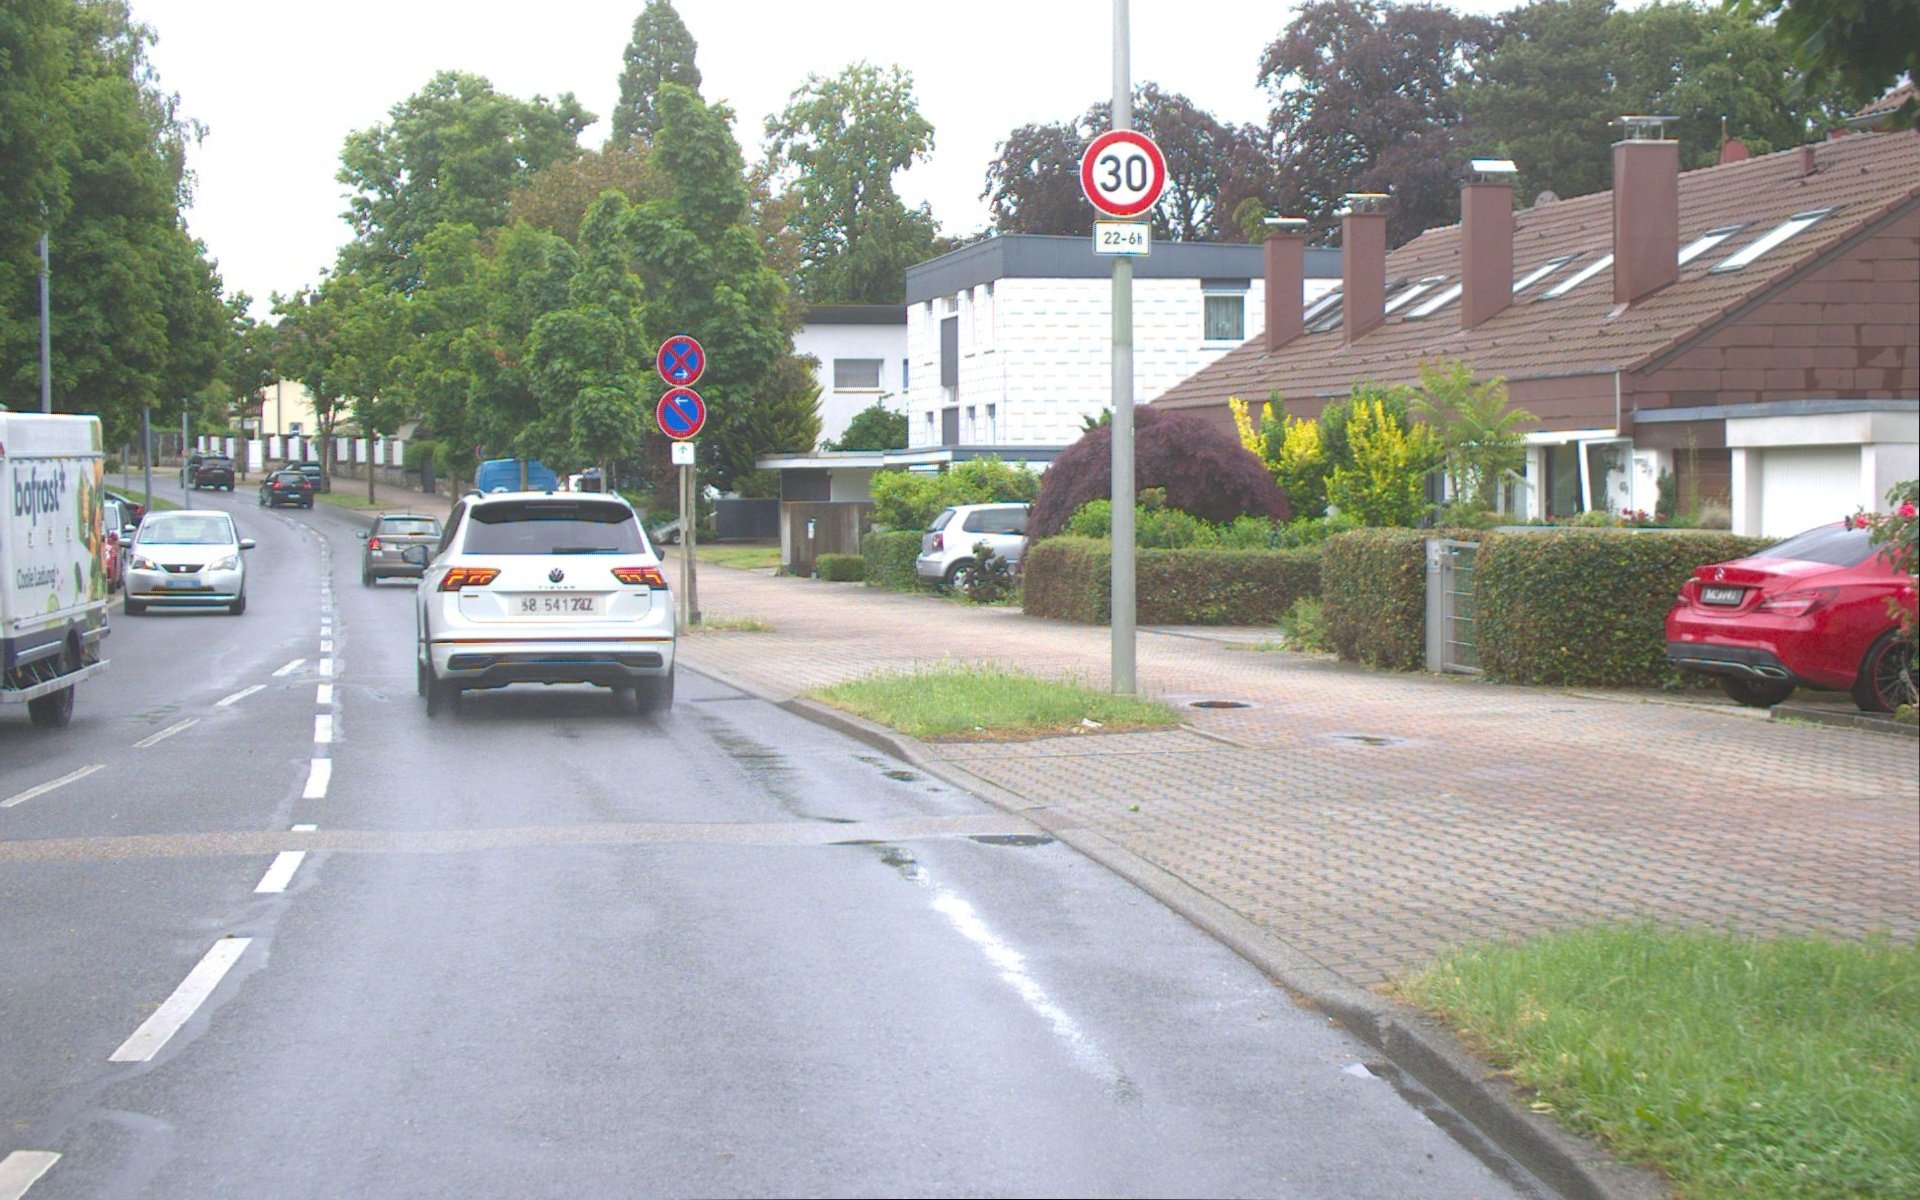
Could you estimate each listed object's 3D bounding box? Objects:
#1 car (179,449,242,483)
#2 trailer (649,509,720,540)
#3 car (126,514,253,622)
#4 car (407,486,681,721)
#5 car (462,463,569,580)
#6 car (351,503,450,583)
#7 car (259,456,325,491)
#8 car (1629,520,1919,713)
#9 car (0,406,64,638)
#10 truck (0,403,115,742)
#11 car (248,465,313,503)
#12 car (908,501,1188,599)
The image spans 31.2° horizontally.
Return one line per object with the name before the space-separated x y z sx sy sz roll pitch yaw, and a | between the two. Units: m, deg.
car | -34.068 -6.110 156.216 1.642 1.422 4.001 0 3 -30
trailer | -8.331 -2.276 103.798 2.042 0.880 1.365 1 2 -8
car | -10.904 -0.483 48.807 1.593 1.459 3.454 0 2 -10
car | -3.279 -0.019 26.500 1.864 1.645 4.001 -1 1 -10
car | -10.411 -1.867 80.222 1.993 2.577 5.635 -2 2 -11
car | -11.256 -1.153 68.983 1.768 1.546 4.001 -1 1 -12
car | -29.592 -5.622 152.321 1.642 1.422 4.001 0 3 -30
car | 7.059 0.113 24.284 4.302 1.256 1.680 1 2 -20
car | -12.512 -1.029 43.129 1.993 2.719 5.940 1 2 -10
truck | -7.372 -0.205 23.018 2.217 2.196 6.465 0 1 -4
car | -27.657 -4.730 139.867 1.642 1.422 4.001 0 3 -25
car | 1.337 -0.783 53.109 3.986 1.437 1.848 -1 1 -12
